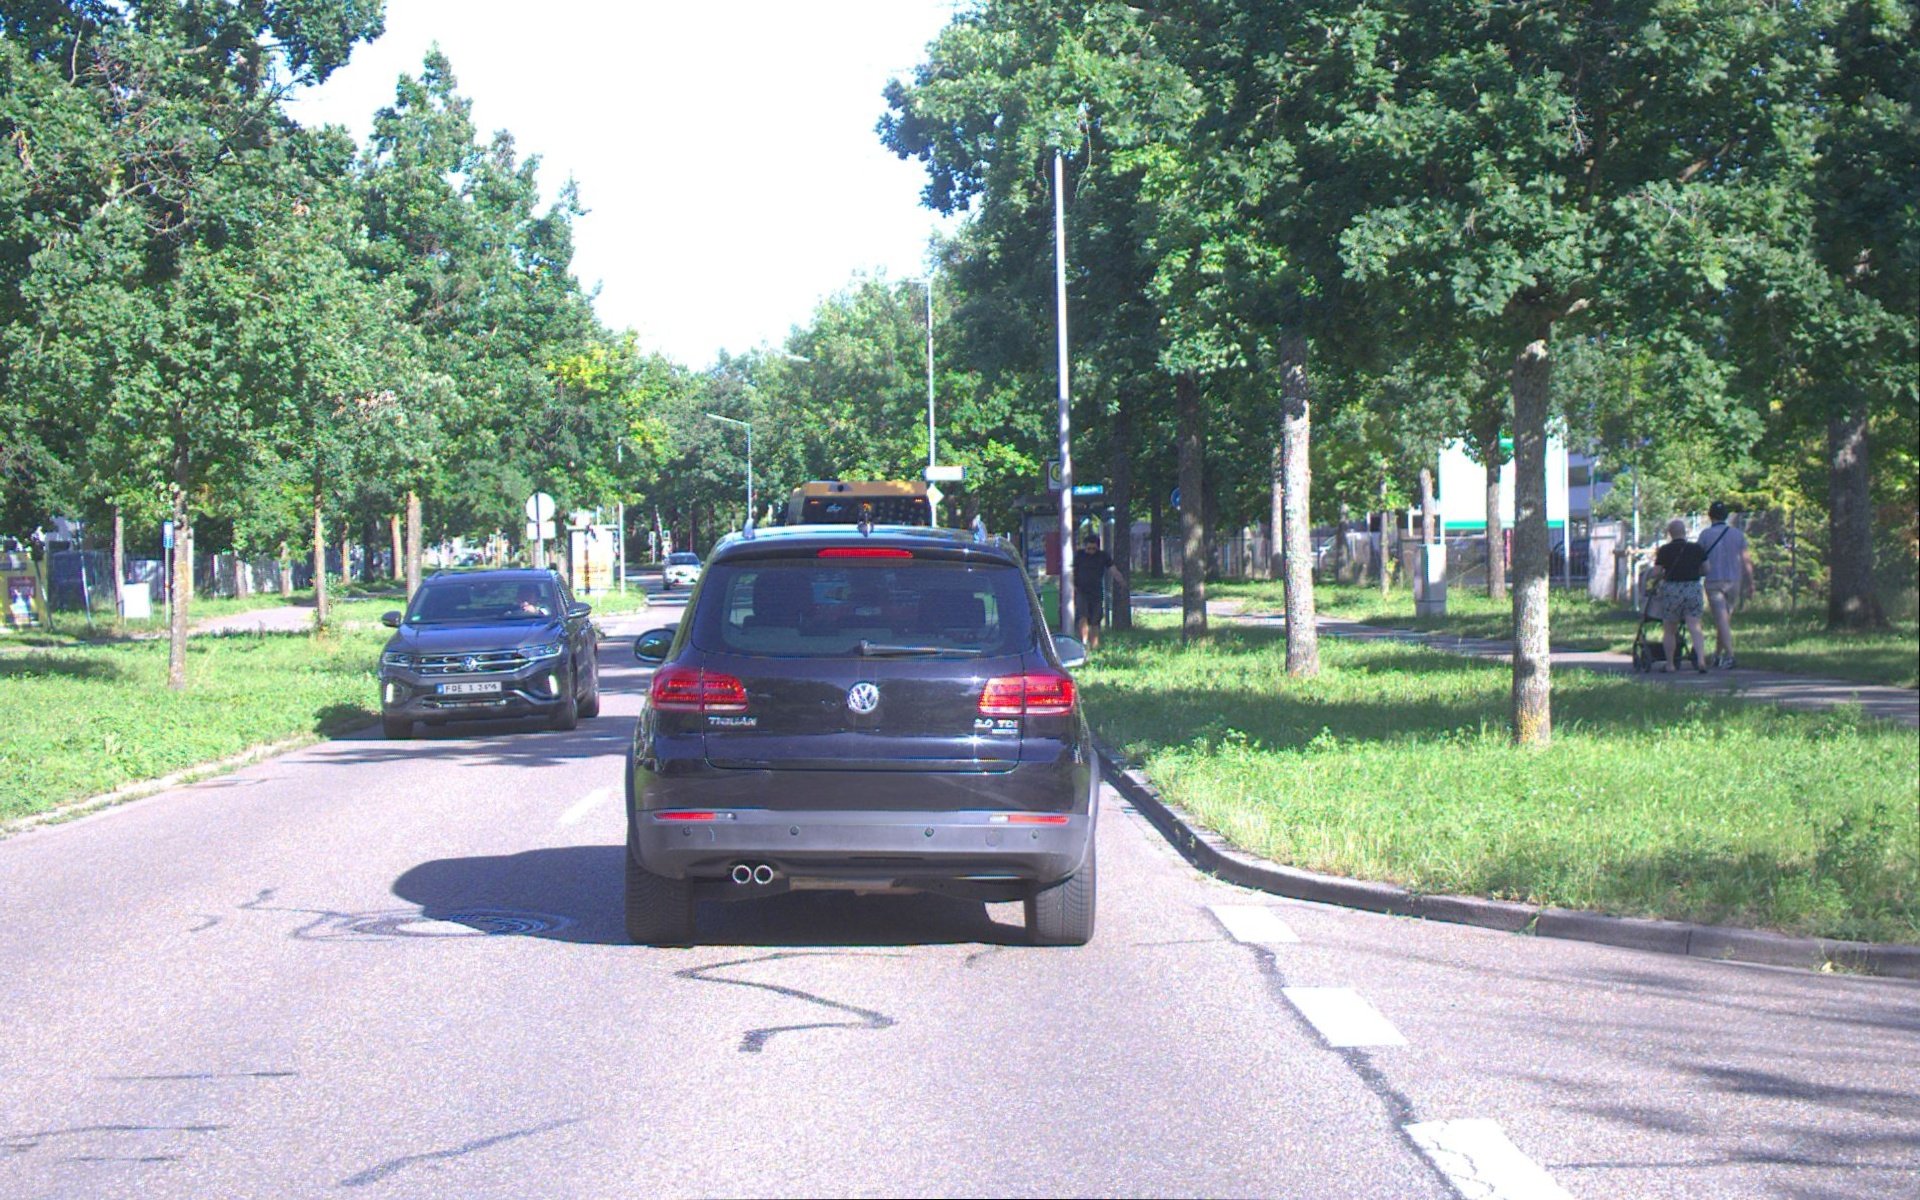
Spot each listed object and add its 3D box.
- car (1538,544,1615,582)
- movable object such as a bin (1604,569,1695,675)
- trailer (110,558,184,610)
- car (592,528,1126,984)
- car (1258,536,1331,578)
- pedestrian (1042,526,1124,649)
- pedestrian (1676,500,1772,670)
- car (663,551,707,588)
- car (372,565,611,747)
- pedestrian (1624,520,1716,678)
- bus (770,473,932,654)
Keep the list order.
[{"bbox_3d":[23.022,-1.406,128.488,1.764,1.379,3.769,-1,1,-7],"label":"car"},{"bbox_3d":[7.308,0.225,36.478,0.725,1.077,0.867,-3,1,-2],"label":"movable object such as a bin"},{"bbox_3d":[-31.045,-0.620,131.343,2.102,1.908,3.741,-1,1,-3],"label":"trailer"},{"bbox_3d":[-0.435,0.530,14.769,1.936,1.650,4.427,0,1,-2],"label":"car"},{"bbox_3d":[14.540,-1.877,149.592,2.184,1.738,4.643,-1,1,-7],"label":"car"},{"bbox_3d":[1.669,-0.175,46.962,1.019,1.646,1.100,-1,1,-2],"label":"pedestrian"},{"bbox_3d":[8.113,-0.159,36.519,0.725,1.749,0.867,-3,1,-2],"label":"pedestrian"},{"bbox_3d":[-11.453,-1.288,143.421,1.744,1.460,4.428,-2,1,-4],"label":"car"},{"bbox_3d":[-4.463,0.483,33.343,1.804,1.531,4.496,-2,1,-2],"label":"car"},{"bbox_3d":[7.349,-0.018,35.598,0.725,1.597,0.867,-1,1,-2],"label":"pedestrian"},{"bbox_3d":[-2.414,-0.804,72.069,2.764,3.445,11.213,-1,1,-5],"label":"bus"}]
